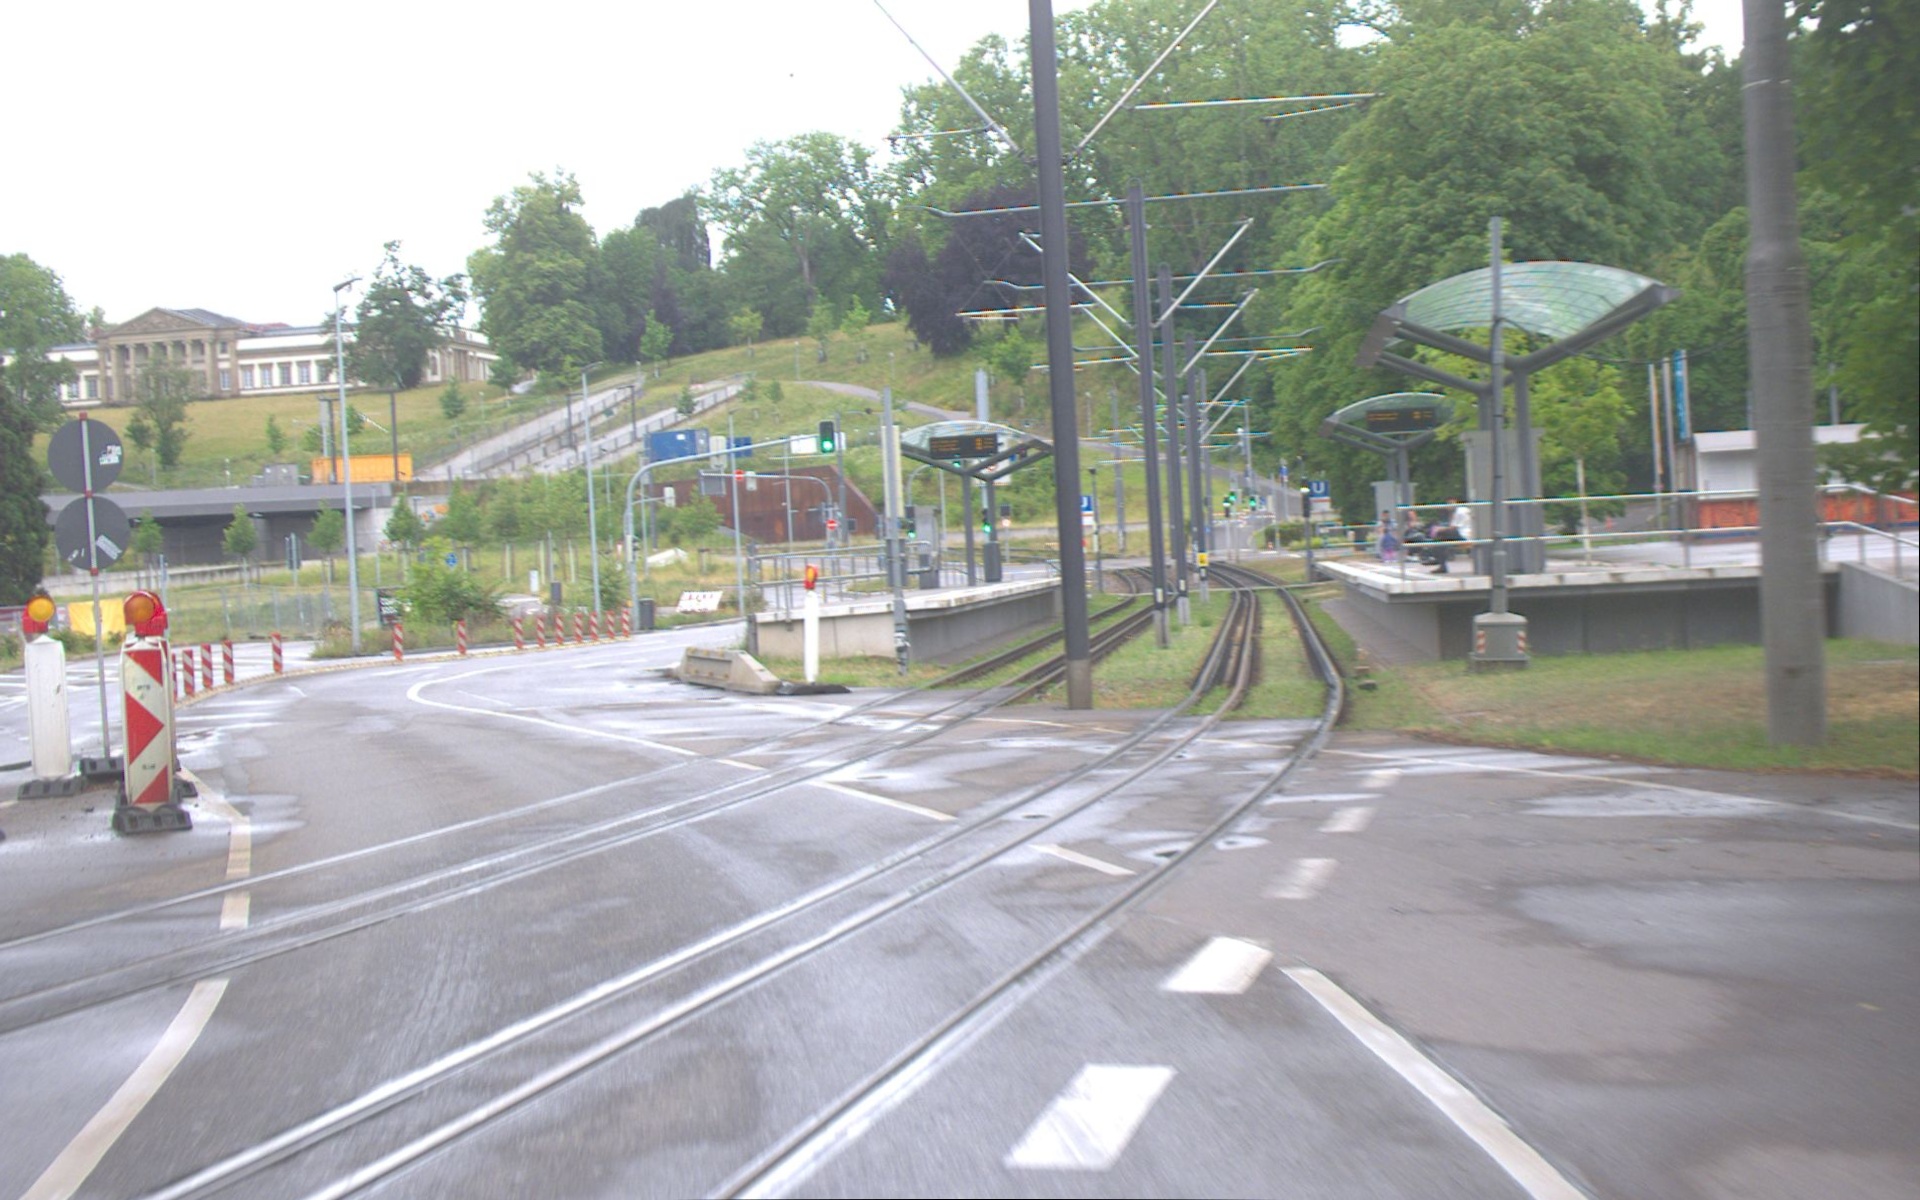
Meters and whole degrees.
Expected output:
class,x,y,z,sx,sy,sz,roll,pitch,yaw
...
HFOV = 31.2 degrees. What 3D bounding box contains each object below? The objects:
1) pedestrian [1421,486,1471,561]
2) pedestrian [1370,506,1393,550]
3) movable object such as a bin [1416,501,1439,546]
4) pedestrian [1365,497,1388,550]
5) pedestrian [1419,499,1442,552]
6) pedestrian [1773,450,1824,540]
class,x,y,z,sx,sy,sz,roll,pitch,yaw
pedestrian,7.304,-1.151,51.686,0.600,1.115,0.520,1,0,-11
pedestrian,9.874,-1.681,80.537,0.437,1.005,0.551,-4,1,6
movable object such as a bin,10.908,-1.782,80.271,0.437,1.005,0.682,-4,1,6
pedestrian,9.842,-1.799,81.197,0.437,1.222,0.551,-4,1,6
pedestrian,11.151,-1.775,81.416,0.437,1.222,0.551,-4,1,6
pedestrian,17.349,-2.180,71.144,0.721,1.784,1.182,-5,1,6
